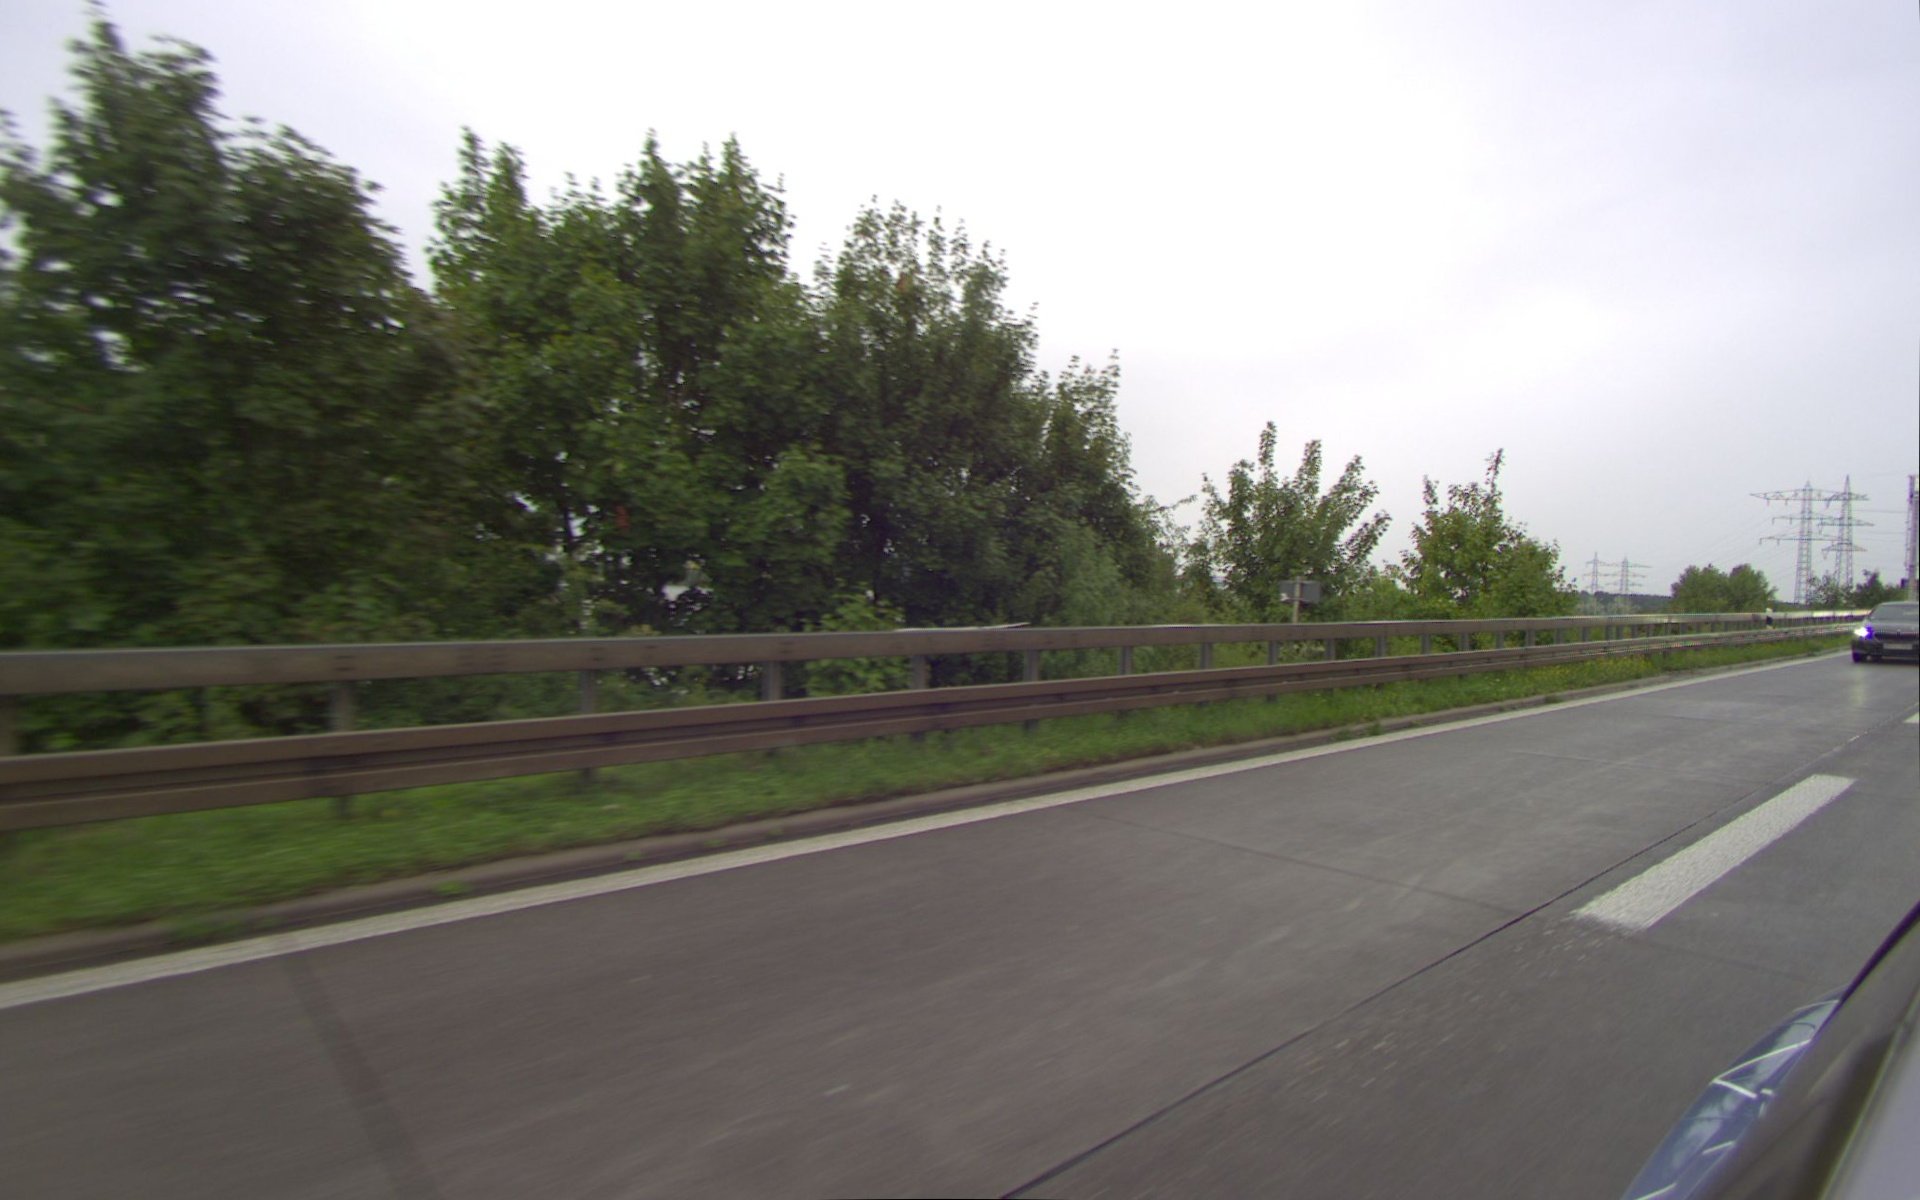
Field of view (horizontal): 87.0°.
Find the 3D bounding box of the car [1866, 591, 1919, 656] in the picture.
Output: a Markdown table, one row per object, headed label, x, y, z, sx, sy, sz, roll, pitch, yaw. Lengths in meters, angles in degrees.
| label | x | y | z | sx | sy | sz | roll | pitch | yaw |
| --- | --- | --- | --- | --- | --- | --- | --- | --- | --- |
| car | 24.270 | 0.586 | 25.419 | 4.131 | 1.560 | 1.860 | 1 | -1 | -42 |
